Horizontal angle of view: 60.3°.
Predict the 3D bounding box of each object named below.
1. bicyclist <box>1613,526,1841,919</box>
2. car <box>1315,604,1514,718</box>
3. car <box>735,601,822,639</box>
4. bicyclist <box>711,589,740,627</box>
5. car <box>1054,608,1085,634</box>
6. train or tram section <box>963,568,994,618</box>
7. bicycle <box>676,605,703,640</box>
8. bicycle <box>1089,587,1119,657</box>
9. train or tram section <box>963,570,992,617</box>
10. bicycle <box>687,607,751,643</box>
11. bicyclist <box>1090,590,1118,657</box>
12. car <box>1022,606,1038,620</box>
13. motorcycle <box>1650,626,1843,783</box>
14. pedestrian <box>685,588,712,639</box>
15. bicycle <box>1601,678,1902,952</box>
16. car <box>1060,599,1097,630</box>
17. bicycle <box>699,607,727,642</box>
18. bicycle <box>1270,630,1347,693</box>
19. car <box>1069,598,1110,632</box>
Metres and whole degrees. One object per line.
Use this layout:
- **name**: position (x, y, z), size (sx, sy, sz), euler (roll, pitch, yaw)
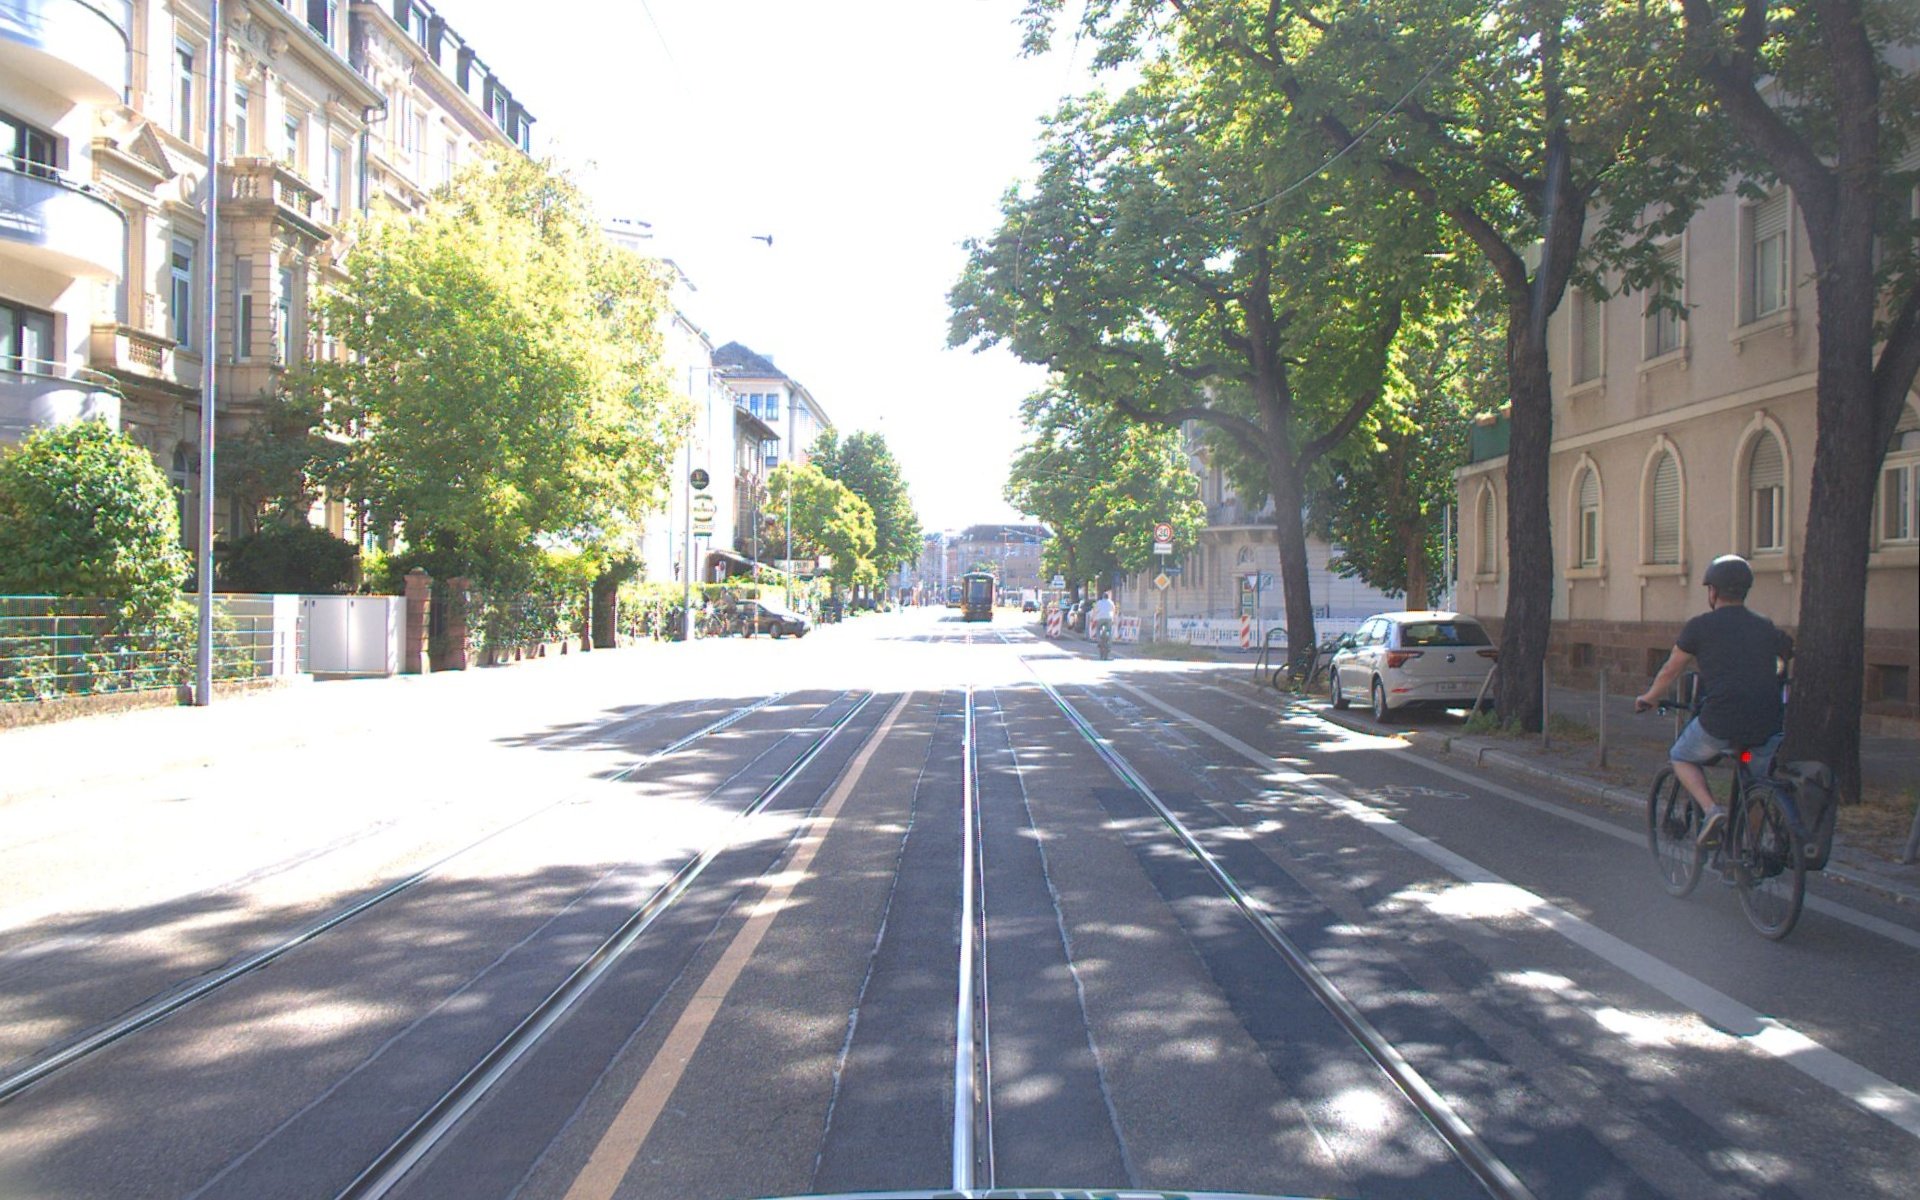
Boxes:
- **bicyclist**: position (3.887, 0.591, 8.439), size (0.712, 1.880, 0.836), euler (2, 0, -1)
- **car**: position (6.342, 0.797, 23.514), size (1.713, 1.445, 4.000), euler (0, 0, 0)
- **car**: position (-7.219, 0.787, 65.594), size (1.743, 1.445, 3.527), euler (2, -2, -40)
- **bicyclist**: position (-8.447, 0.283, 59.567), size (0.756, 1.314, 0.734), euler (2, 0, 16)
- **car**: position (6.997, 1.337, 106.369), size (1.718, 1.579, 3.677), euler (2, 0, 0)
- **train or tram section**: position (1.335, -0.493, 122.045), size (2.109, 3.491, 6.611), euler (2, 0, 0)
- **bicycle**: position (-8.865, 0.736, 54.120), size (0.622, 1.088, 1.823), euler (2, 0, -16)
- **bicycle**: position (4.049, 0.596, 46.619), size (0.649, 1.891, 2.260), euler (2, 0, 2)
- **train or tram section**: position (1.323, -0.509, 128.675), size (2.109, 3.491, 6.611), euler (2, 0, 0)
- **bicycle**: position (-8.695, 0.884, 59.636), size (2.094, 1.191, 0.803), euler (2, 0, 15)
- **bicyclist**: position (4.011, 0.640, 45.996), size (0.632, 1.827, 0.956), euler (2, 0, 0)
- **car**: position (8.637, 1.600, 204.415), size (1.833, 1.691, 3.514), euler (2, 0, 0)
- **motorcycle**: position (7.017, 0.890, 14.894), size (0.695, 1.265, 2.184), euler (0, 0, 0)
- **pedestrian**: position (-9.068, 0.461, 57.299), size (0.754, 1.742, 0.669), euler (2, 0, 0)
- **bicycle**: position (3.936, 1.019, 8.387), size (0.677, 1.132, 1.718), euler (2, 0, 0)
- **car**: position (6.431, 0.771, 90.003), size (1.718, 1.579, 3.677), euler (2, 0, 0)
- **bicycle**: position (-8.217, 0.799, 55.013), size (0.623, 1.088, 1.823), euler (2, 0, -17)
- **bicycle**: position (6.094, 1.071, 29.000), size (1.243, 1.042, 0.704), euler (2, -1, 8)
- **car**: position (6.353, 0.720, 81.387), size (1.718, 1.579, 3.677), euler (2, 0, 0)
